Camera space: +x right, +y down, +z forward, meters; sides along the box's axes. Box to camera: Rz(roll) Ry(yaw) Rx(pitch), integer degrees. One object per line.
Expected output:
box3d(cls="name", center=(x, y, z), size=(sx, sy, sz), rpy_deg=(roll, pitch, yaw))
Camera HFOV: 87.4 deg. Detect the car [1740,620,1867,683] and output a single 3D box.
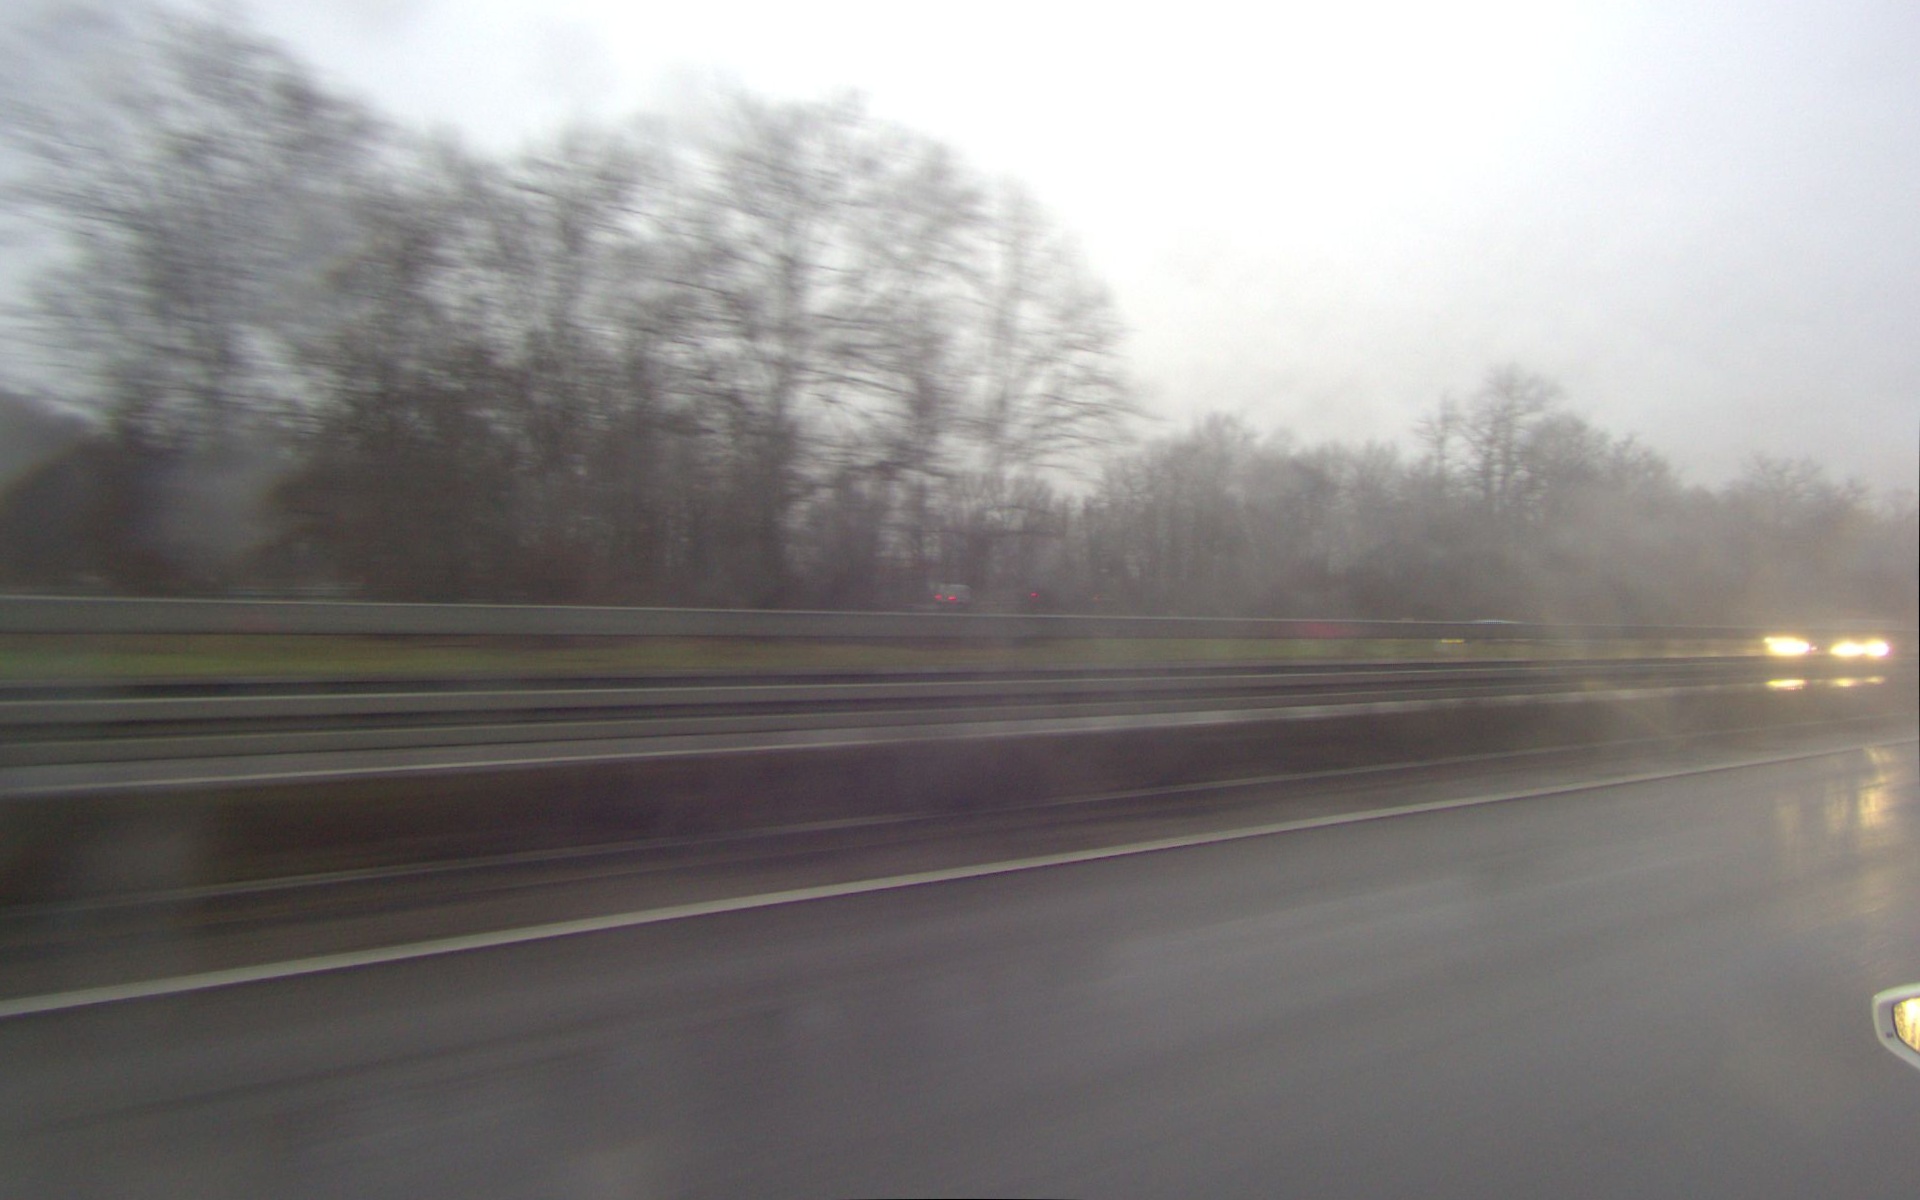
box3d(cls="car", center=(22.175, 1.323, 26.388), size=(3.392, 1.519, 1.551), rpy_deg=(2, 0, -31))
